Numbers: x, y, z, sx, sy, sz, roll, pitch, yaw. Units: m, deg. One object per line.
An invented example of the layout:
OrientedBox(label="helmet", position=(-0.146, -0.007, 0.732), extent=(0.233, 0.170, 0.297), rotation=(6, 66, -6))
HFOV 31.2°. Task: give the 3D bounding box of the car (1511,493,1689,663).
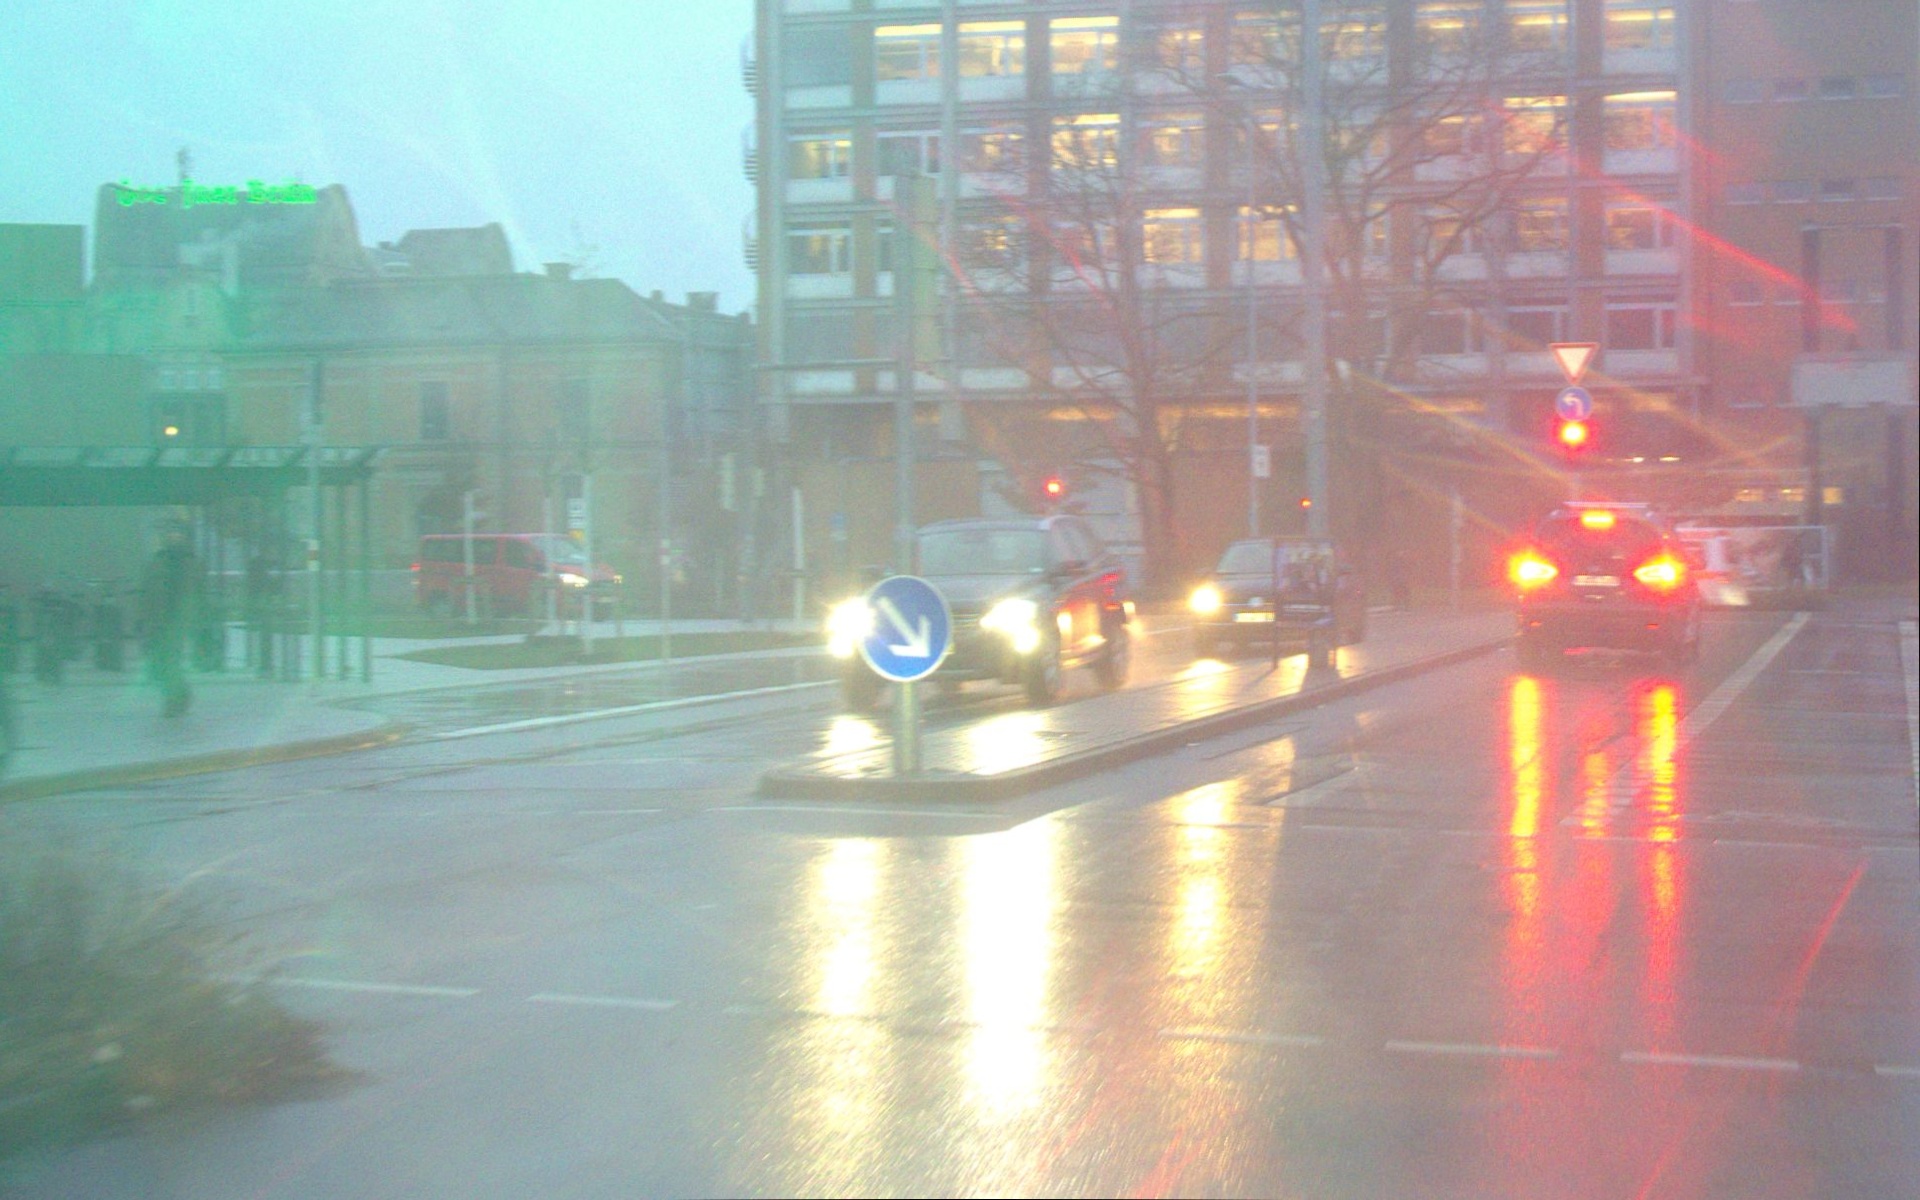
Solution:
OrientedBox(label="car", position=(7.374, -0.289, 39.373), extent=(1.648, 1.812, 3.997), rotation=(2, 2, 15))

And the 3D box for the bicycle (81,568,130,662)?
OrientedBox(label="bicycle", position=(-10.900, 0.183, 43.833), extent=(0.548, 1.161, 1.899), rotation=(2, 0, -14))

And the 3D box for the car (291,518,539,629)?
OrientedBox(label="car", position=(-11.889, -0.590, 74.873), extent=(5.030, 2.274, 2.254), rotation=(1, 0, 32))

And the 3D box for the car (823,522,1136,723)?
OrientedBox(label="car", position=(0.269, 0.143, 31.177), extent=(1.755, 1.656, 4.527), rotation=(-1, 1, 14))

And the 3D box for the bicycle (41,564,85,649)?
OrientedBox(label="bicycle", position=(-12.624, 0.091, 48.382), extent=(0.548, 1.161, 1.899), rotation=(2, 0, -14))

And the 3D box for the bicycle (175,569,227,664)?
OrientedBox(label="bicycle", position=(-9.581, 0.199, 43.380), extent=(0.548, 1.161, 1.899), rotation=(2, 0, -14))

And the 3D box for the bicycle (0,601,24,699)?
OrientedBox(label="bicycle", position=(-11.717, 0.590, 41.867), extent=(0.548, 1.161, 1.899), rotation=(2, 0, -14))

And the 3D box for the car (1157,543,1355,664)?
OrientedBox(label="car", position=(3.795, 0.011, 43.449), extent=(1.748, 1.373, 4.364), rotation=(-1, 1, 15))

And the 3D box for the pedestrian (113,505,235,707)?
OrientedBox(label="pedestrian", position=(-6.627, 0.054, 29.011), extent=(0.673, 1.668, 0.729), rotation=(2, 0, 19))

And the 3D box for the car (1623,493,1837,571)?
OrientedBox(label="car", position=(21.493, -1.894, 95.973), extent=(5.553, 2.017, 1.998), rotation=(2, 0, 21))

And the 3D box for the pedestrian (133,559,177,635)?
OrientedBox(label="pedestrian", position=(-18.218, -0.074, 77.791), extent=(0.461, 1.691, 0.794), rotation=(1, -1, 39))

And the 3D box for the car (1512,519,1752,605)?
OrientedBox(label="car", position=(15.841, -0.910, 81.143), extent=(5.164, 1.906, 1.996), rotation=(2, 1, 31))
